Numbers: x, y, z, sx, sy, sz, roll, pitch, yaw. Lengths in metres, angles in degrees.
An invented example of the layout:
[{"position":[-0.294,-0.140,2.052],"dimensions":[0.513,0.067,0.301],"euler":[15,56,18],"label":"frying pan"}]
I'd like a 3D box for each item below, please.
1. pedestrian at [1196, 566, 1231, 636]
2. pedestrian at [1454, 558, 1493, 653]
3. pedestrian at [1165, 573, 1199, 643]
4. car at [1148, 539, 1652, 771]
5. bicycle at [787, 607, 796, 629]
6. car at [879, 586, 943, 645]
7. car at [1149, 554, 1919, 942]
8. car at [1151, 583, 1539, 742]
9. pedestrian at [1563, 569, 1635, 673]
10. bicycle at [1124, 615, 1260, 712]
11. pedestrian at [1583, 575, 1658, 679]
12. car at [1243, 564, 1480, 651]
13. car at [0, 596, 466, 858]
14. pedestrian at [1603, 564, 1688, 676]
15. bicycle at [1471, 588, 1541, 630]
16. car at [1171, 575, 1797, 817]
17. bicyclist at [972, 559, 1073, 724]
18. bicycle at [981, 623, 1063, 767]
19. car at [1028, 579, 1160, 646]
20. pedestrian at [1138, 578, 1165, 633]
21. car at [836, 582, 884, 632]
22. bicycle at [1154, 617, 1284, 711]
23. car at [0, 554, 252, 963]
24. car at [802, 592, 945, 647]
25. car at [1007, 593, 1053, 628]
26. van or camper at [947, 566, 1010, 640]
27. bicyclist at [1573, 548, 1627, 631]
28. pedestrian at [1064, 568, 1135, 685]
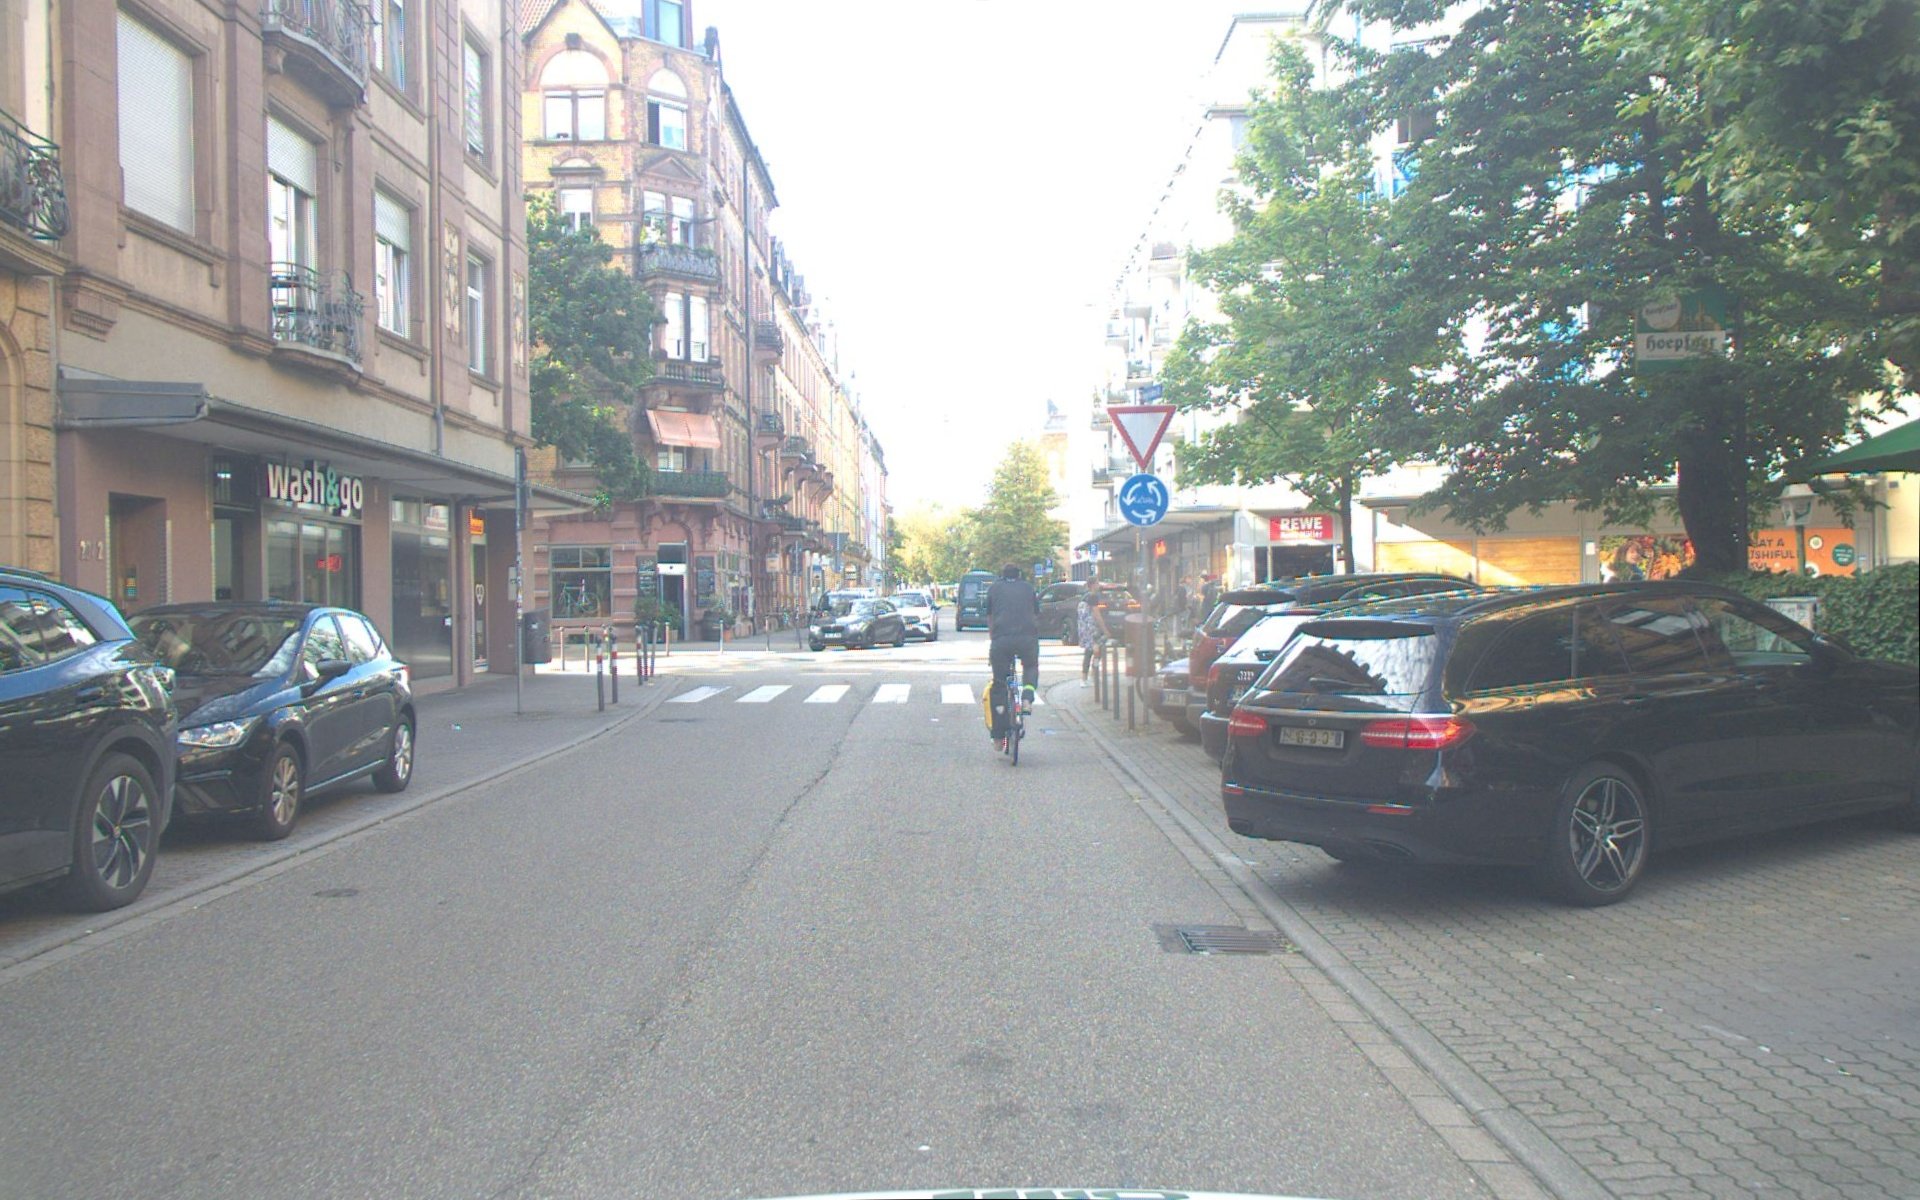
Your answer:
[{"position":[6.944,0.032,45.339],"dimensions":[0.850,1.883,0.613],"euler":[-1,0,5],"label":"pedestrian"},{"position":[9.740,0.105,31.391],"dimensions":[0.615,1.769,0.776],"euler":[-1,0,12],"label":"pedestrian"},{"position":[6.089,0.210,45.407],"dimensions":[0.850,1.883,0.613],"euler":[-1,0,5],"label":"pedestrian"},{"position":[4.043,0.414,15.102],"dimensions":[4.289,1.673,1.806],"euler":[-4,1,-27],"label":"car"},{"position":[-7.648,0.822,75.028],"dimensions":[0.353,0.963,1.714],"euler":[0,0,-5],"label":"bicycle"},{"position":[-1.613,0.476,56.552],"dimensions":[1.903,1.752,4.851],"euler":[-3,2,1],"label":"car"},{"position":[3.572,0.593,9.120],"dimensions":[4.701,1.482,2.037],"euler":[-4,2,-29],"label":"car"},{"position":[4.148,0.600,17.736],"dimensions":[3.887,1.482,1.753],"euler":[-1,0,-29],"label":"car"},{"position":[8.870,0.285,22.968],"dimensions":[0.742,1.417,0.548],"euler":[-1,0,-5],"label":"pedestrian"},{"position":[2.739,0.746,19.727],"dimensions":[0.542,1.058,1.839],"euler":[-5,1,-29],"label":"bicycle"},{"position":[8.935,0.361,22.384],"dimensions":[0.742,1.366,0.596],"euler":[-1,0,-5],"label":"pedestrian"},{"position":[8.946,0.190,37.091],"dimensions":[4.757,1.754,2.031],"euler":[-1,2,41],"label":"car"},{"position":[-5.040,0.722,11.510],"dimensions":[1.953,1.445,4.244],"euler":[-1,0,-1],"label":"car"},{"position":[8.988,0.260,21.703],"dimensions":[0.781,1.431,0.702],"euler":[-1,0,-4],"label":"pedestrian"},{"position":[14.100,0.232,42.747],"dimensions":[1.653,1.069,0.455],"euler":[-1,0,40],"label":"bicycle"},{"position":[3.952,0.604,12.435],"dimensions":[4.345,1.482,1.927],"euler":[-1,0,-25],"label":"car"},{"position":[0.575,0.379,15.508],"dimensions":[0.914,1.510,0.747],"euler":[0,0,-1],"label":"bicyclist"},{"position":[0.546,0.829,15.432],"dimensions":[0.652,1.198,2.497],"euler":[0,0,0],"label":"bicycle"},{"position":[3.487,0.324,43.705],"dimensions":[1.965,1.646,3.975],"euler":[-1,0,-21],"label":"car"},{"position":[5.864,0.175,50.667],"dimensions":[0.729,1.657,0.813],"euler":[-1,0,11],"label":"pedestrian"},{"position":[-4.337,0.297,72.133],"dimensions":[1.953,2.049,3.998],"euler":[-2,0,-2],"label":"car"},{"position":[3.115,0.766,20.056],"dimensions":[0.454,1.058,1.839],"euler":[-5,1,-29],"label":"bicycle"},{"position":[-4.768,0.658,6.638],"dimensions":[1.754,1.657,4.847],"euler":[-1,0,0],"label":"car"},{"position":[-2.394,0.546,46.745],"dimensions":[1.722,1.461,4.192],"euler":[-1,-1,38],"label":"car"},{"position":[3.240,0.474,77.107],"dimensions":[1.952,1.512,4.000],"euler":[-2,0,1],"label":"car"},{"position":[0.770,0.106,72.445],"dimensions":[2.480,3.090,4.457],"euler":[-1,0,-2],"label":"van or camper"},{"position":[13.563,-0.223,35.063],"dimensions":[0.992,1.697,0.944],"euler":[-1,0,19],"label":"bicyclist"},{"position":[2.211,0.406,26.176],"dimensions":[0.769,1.811,0.789],"euler":[-2,0,38],"label":"pedestrian"}]
